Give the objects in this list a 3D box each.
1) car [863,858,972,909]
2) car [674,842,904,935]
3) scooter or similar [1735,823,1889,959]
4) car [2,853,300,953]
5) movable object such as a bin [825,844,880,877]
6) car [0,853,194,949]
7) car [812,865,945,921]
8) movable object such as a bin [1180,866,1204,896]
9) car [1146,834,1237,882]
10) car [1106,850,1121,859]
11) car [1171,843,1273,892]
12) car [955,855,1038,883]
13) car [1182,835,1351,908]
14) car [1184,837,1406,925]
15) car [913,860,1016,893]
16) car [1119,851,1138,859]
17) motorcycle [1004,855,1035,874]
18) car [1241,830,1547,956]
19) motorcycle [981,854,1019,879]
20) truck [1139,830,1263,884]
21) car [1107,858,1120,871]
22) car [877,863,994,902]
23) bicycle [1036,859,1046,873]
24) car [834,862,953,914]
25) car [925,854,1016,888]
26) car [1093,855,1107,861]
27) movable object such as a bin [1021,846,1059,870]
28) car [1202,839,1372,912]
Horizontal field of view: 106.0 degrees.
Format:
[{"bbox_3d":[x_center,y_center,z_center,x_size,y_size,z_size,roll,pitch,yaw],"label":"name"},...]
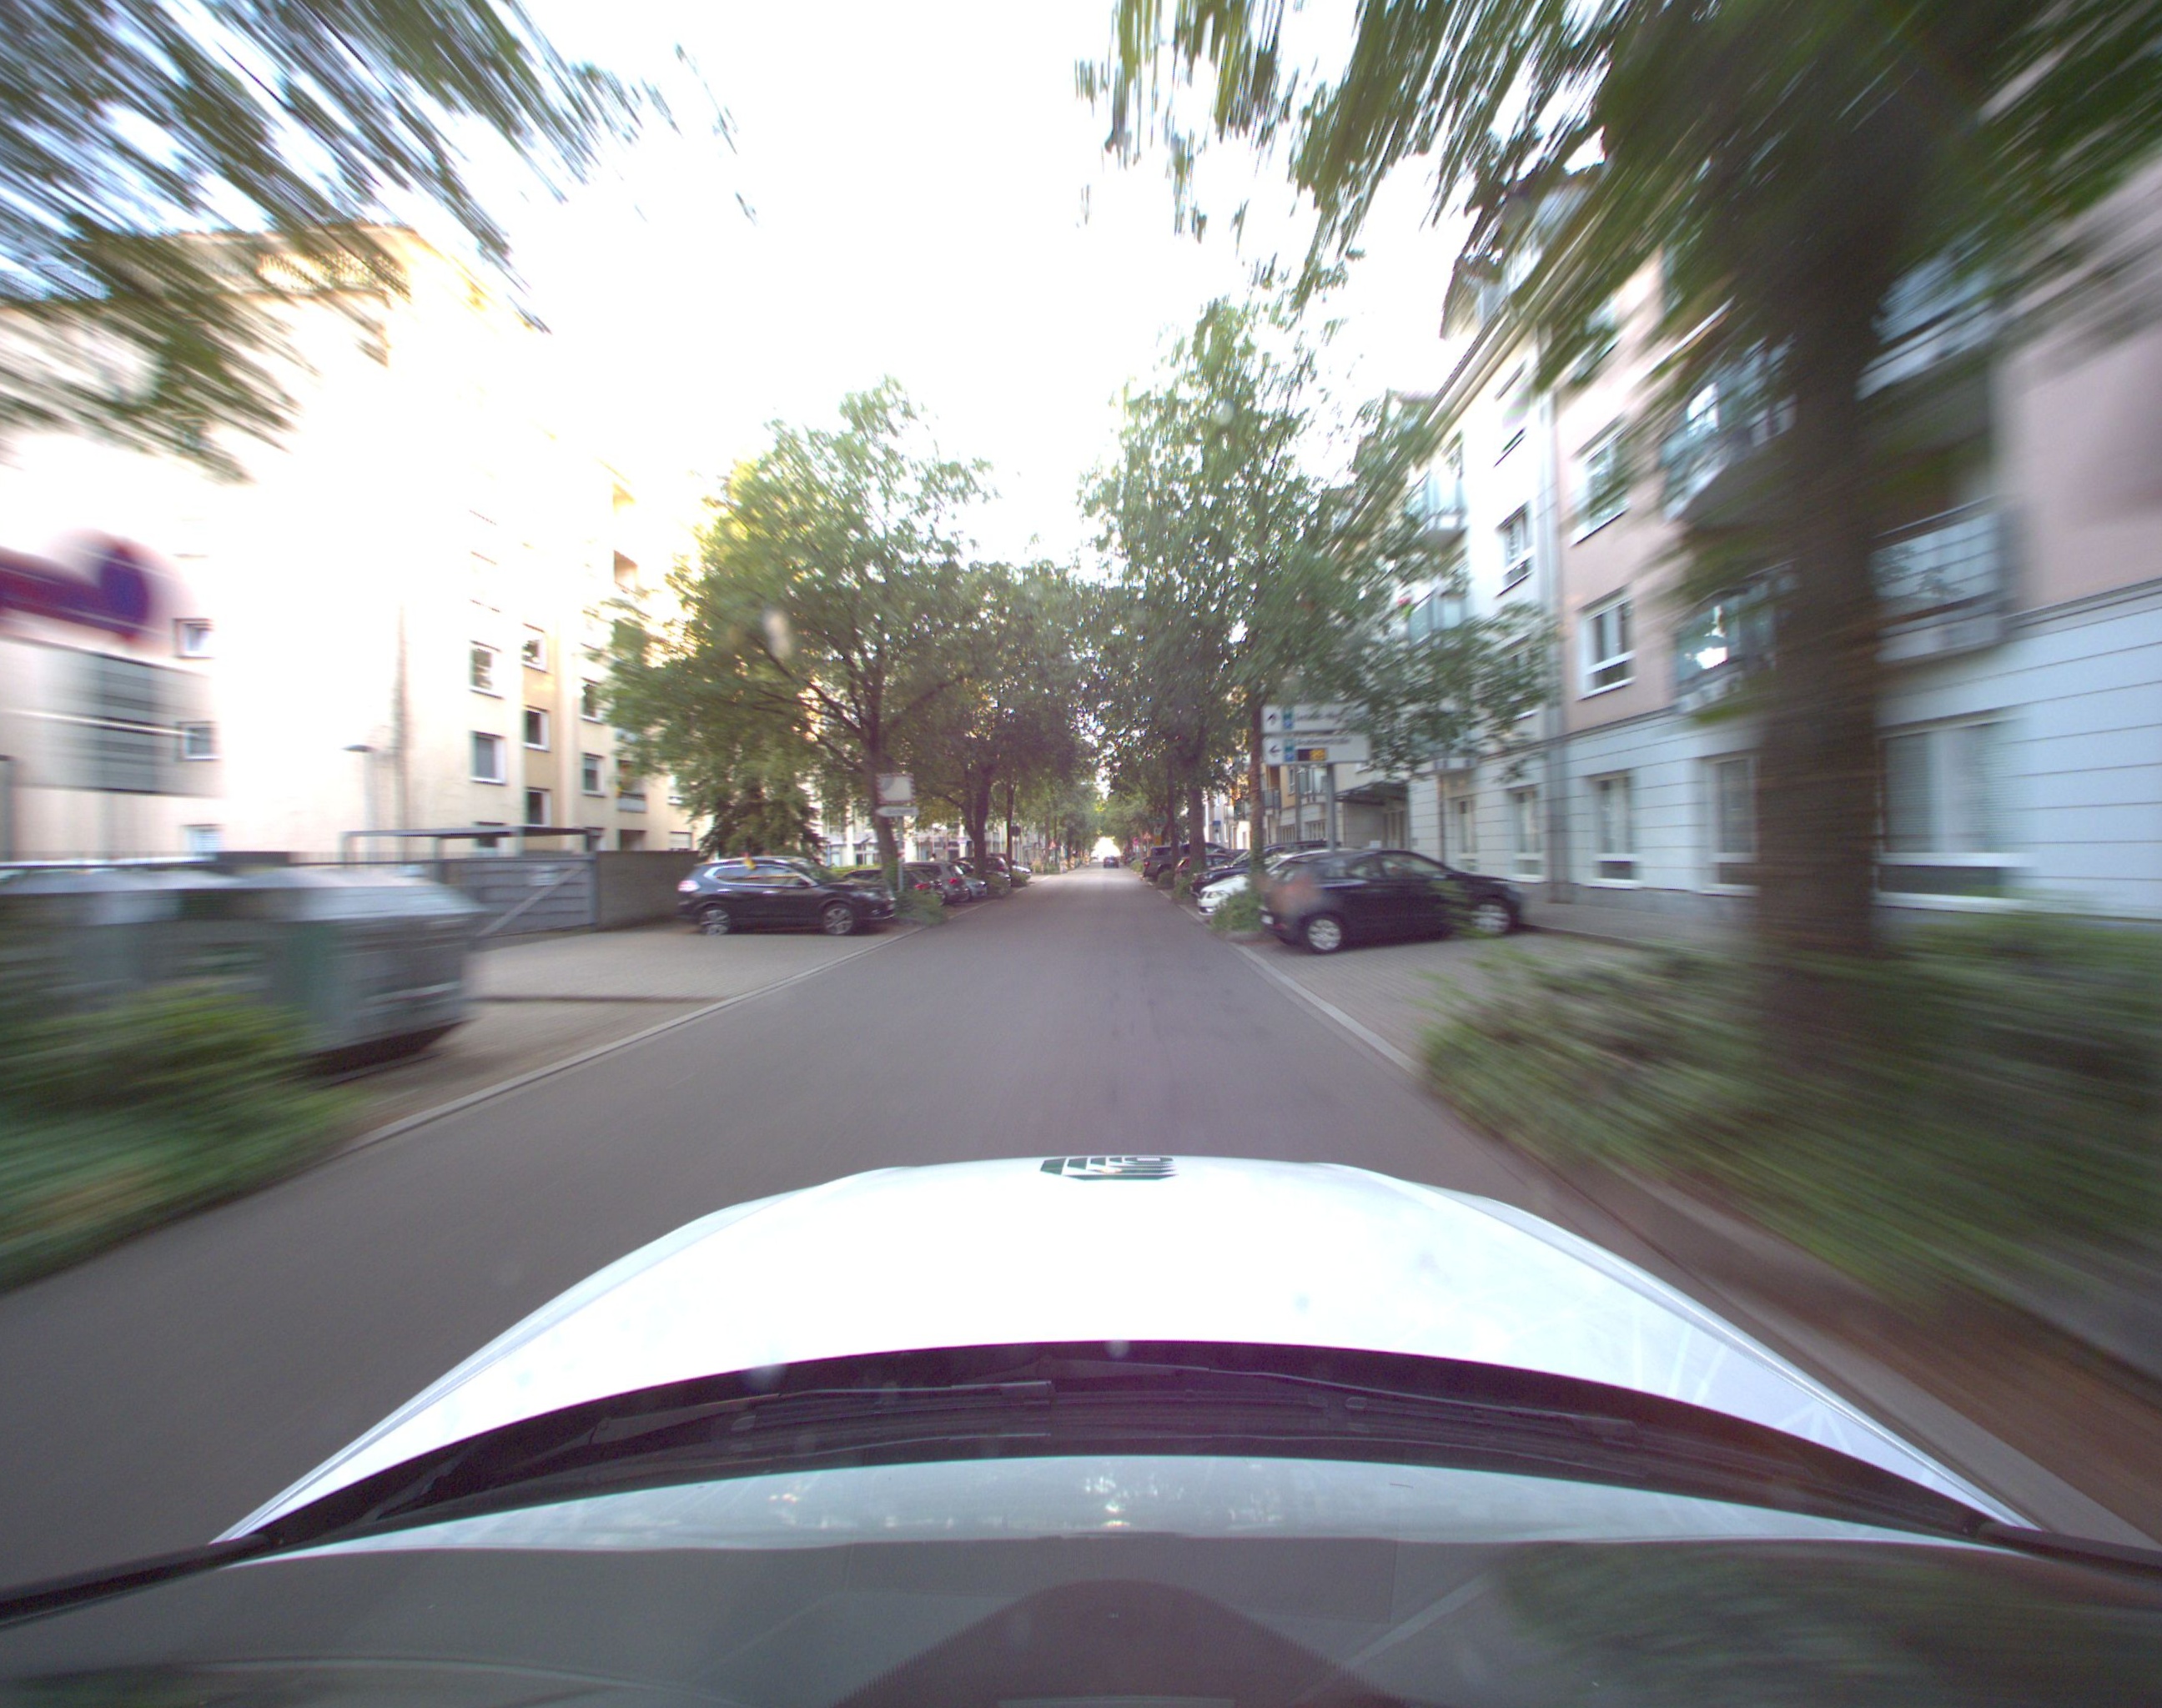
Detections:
[{"bbox_3d":[-5.638,1.004,28.407,3.394,1.609,1.760,-2,0,-1],"label":"car"},{"bbox_3d":[-6.445,0.738,18.380,4.402,1.892,2.000,-1,0,1],"label":"car"},{"bbox_3d":[7.241,0.344,8.135,0.397,1.240,1.253,-2,0,2],"label":"scooter or similar"},{"bbox_3d":[-21.533,1.022,19.209,1.775,1.956,4.418,-2,1,2],"label":"car"},{"bbox_3d":[-18.629,0.527,66.422,4.059,2.634,1.813,-1,0,26],"label":"movable object such as a bin"},{"bbox_3d":[-24.278,1.060,19.174,1.775,1.995,4.418,-2,1,2],"label":"car"},{"bbox_3d":[-5.761,1.097,23.430,3.394,1.442,1.594,-2,0,-1],"label":"car"},{"bbox_3d":[4.051,0.971,29.671,0.772,1.068,0.589,-2,0,1],"label":"movable object such as a bin"},{"bbox_3d":[5.991,0.199,44.670,4.603,2.133,2.037,-6,0,1],"label":"car"},{"bbox_3d":[8.602,0.134,217.073,3.970,2.013,2.002,-2,0,3],"label":"car"},{"bbox_3d":[5.556,0.557,32.401,3.653,1.548,1.780,-5,-2,-1],"label":"car"},{"bbox_3d":[-4.846,0.830,46.973,4.480,1.581,2.056,0,-1,2],"label":"car"},{"bbox_3d":[5.383,0.486,23.952,4.379,1.703,1.891,-5,0,-7],"label":"car"},{"bbox_3d":[4.782,0.591,18.693,4.556,1.552,1.773,-5,0,1],"label":"car"},{"bbox_3d":[-5.616,1.072,39.790,4.701,1.424,2.071,-1,0,-1],"label":"car"},{"bbox_3d":[10.051,0.179,172.871,3.976,1.597,1.999,-2,0,-2],"label":"car"},{"bbox_3d":[-5.003,0.840,66.289,2.391,1.440,0.792,-2,0,-38],"label":"motorcycle"},{"bbox_3d":[4.742,0.566,12.766,3.977,1.474,1.912,-5,0,-3],"label":"car"},{"bbox_3d":[-5.029,0.789,50.419,2.207,1.494,0.692,-1,0,3],"label":"motorcycle"},{"bbox_3d":[6.106,0.168,42.094,5.982,2.133,2.262,-6,0,1],"label":"truck"},{"bbox_3d":[3.934,1.263,99.259,1.494,1.416,3.715,-1,0,2],"label":"car"},{"bbox_3d":[-5.416,1.063,30.730,4.087,1.379,1.746,-1,0,-1],"label":"car"},{"bbox_3d":[-3.404,1.007,69.093,0.599,1.118,1.801,-2,0,2],"label":"bicycle"},{"bbox_3d":[-5.976,1.058,26.210,3.394,1.506,1.664,-2,0,-1],"label":"car"},{"bbox_3d":[-5.641,0.860,41.857,4.382,1.684,2.064,0,0,-1],"label":"car"},{"bbox_3d":[6.055,1.232,258.534,3.982,1.914,1.773,-2,0,-6],"label":"car"},{"bbox_3d":[-4.245,0.435,84.676,3.653,2.333,2.583,-2,0,0],"label":"movable object such as a bin"},{"bbox_3d":[5.298,0.546,21.361,3.970,1.525,1.728,-5,0,3],"label":"car"}]
